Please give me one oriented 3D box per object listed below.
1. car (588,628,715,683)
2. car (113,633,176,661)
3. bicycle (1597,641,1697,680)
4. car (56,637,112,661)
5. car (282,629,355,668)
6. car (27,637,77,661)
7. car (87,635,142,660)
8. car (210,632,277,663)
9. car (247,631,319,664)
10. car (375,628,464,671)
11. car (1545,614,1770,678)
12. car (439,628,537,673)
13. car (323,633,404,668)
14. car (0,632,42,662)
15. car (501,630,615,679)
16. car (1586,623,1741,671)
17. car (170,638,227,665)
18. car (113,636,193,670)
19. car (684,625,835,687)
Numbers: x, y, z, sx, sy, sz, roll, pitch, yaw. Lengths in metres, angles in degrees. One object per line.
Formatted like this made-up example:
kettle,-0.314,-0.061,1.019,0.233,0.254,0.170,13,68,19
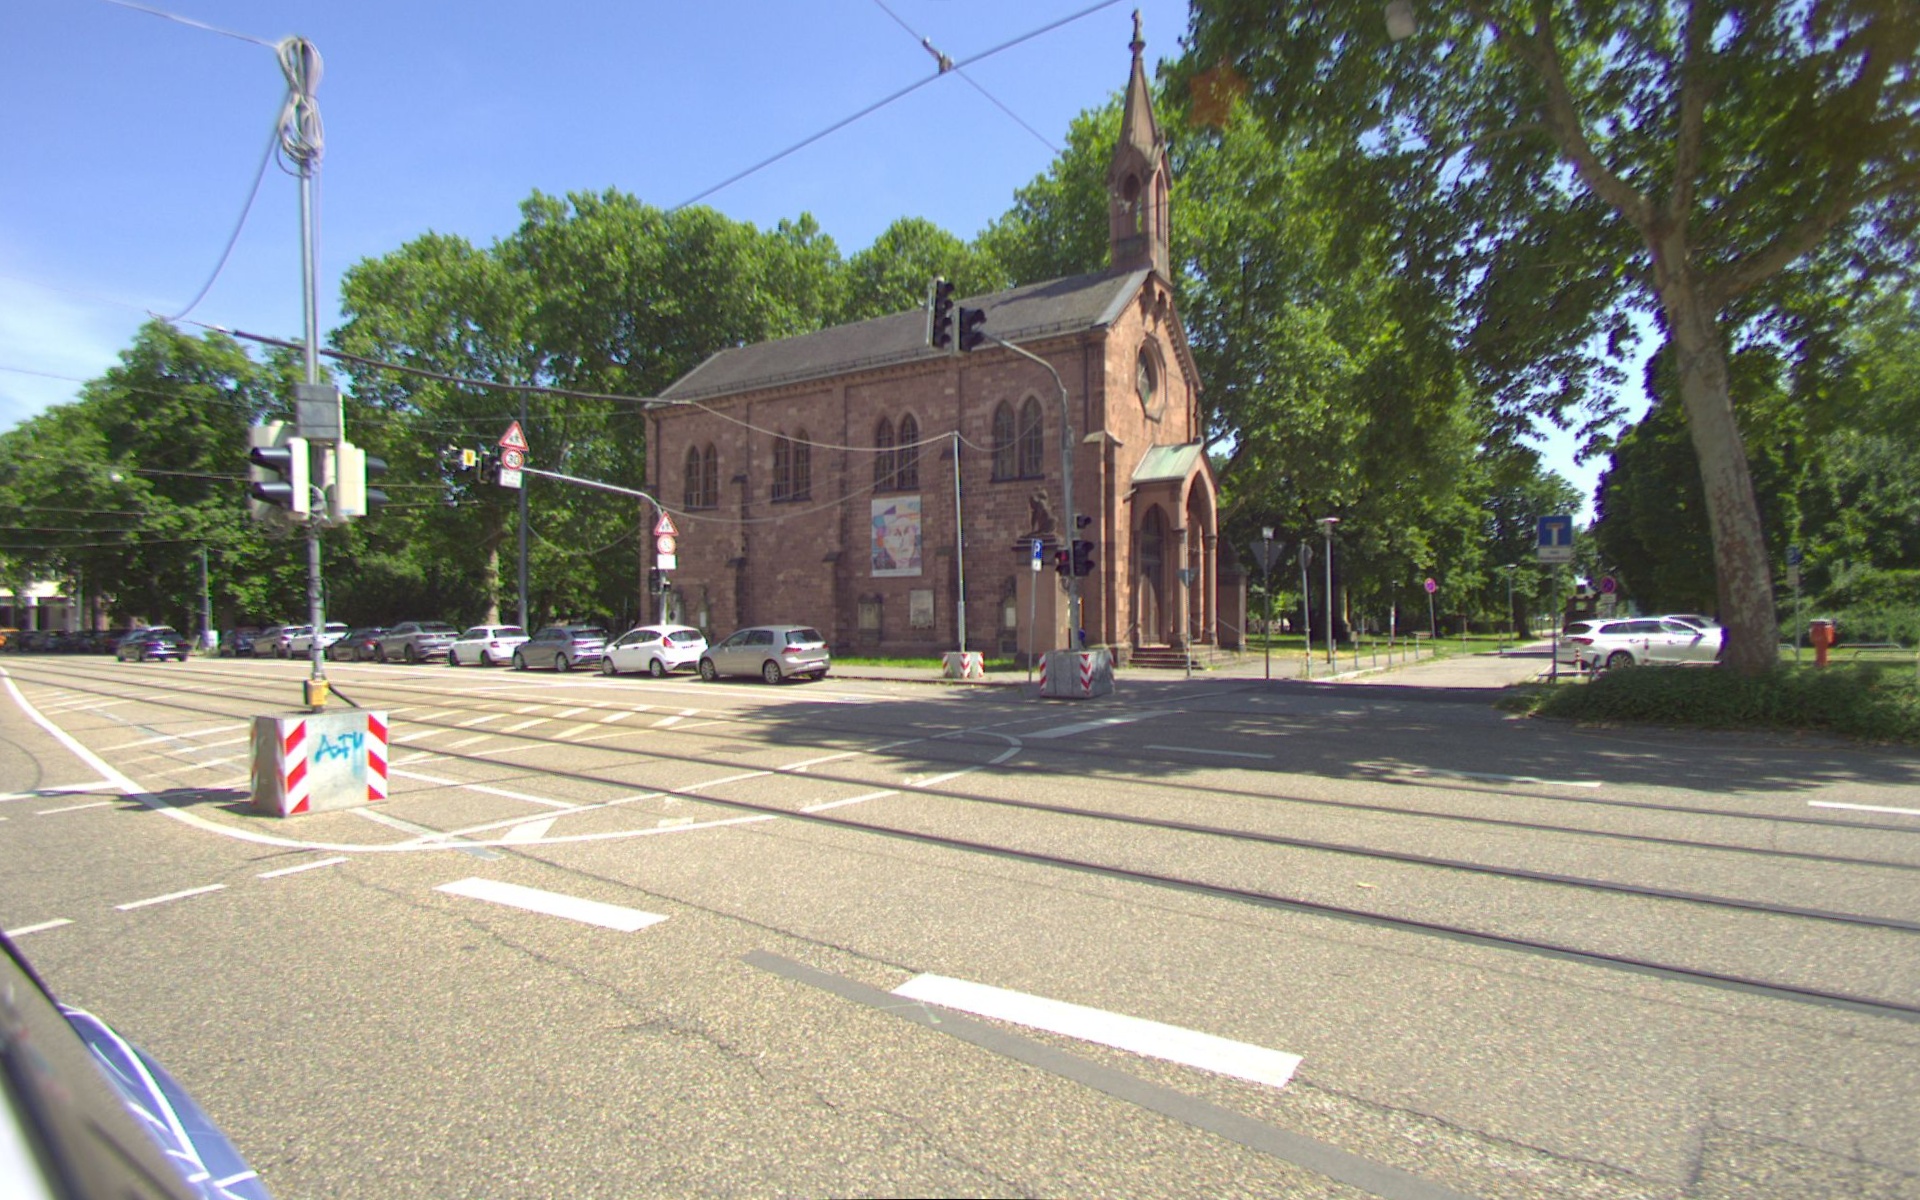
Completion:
car,-9.183,1.611,29.998,4.054,1.470,1.642,-2,-1,39
car,-48.039,2.749,59.619,3.992,1.575,1.954,-2,-1,36
bicycle,16.730,1.474,24.689,1.893,0.907,0.640,-1,-1,19
car,-56.916,3.180,65.751,3.989,1.475,1.789,-2,-1,34
car,-29.421,2.179,46.355,3.902,1.665,1.725,-2,-1,40
car,-62.017,3.323,69.127,3.808,1.526,1.727,-2,-1,35
car,-52.299,2.909,62.572,3.994,1.475,1.787,-2,-1,38
car,-37.626,2.474,53.102,4.182,1.509,1.726,-2,-1,38
car,-33.134,2.307,49.485,4.182,1.509,1.726,-2,-1,38
car,-21.254,1.919,39.736,3.748,1.535,1.726,-2,-1,38
car,18.343,1.198,26.809,4.477,1.520,1.912,-1,0,5
car,-17.146,1.799,36.716,3.748,1.470,1.726,-2,-1,38
car,-25.525,2.121,43.240,3.994,1.386,1.651,-2,-1,38
car,-67.804,3.372,72.633,3.991,2.029,1.976,-2,-1,35
car,-13.165,1.745,33.085,4.053,1.470,1.642,-2,-1,38
car,22.052,1.459,31.861,3.552,1.387,1.717,-1,0,8
car,-42.082,2.815,55.912,3.760,1.390,1.630,-2,-1,38
car,-36.069,2.332,45.186,4.339,1.405,1.730,-2,-1,36
car,-5.390,1.448,26.974,4.216,1.470,1.642,-2,-1,39
